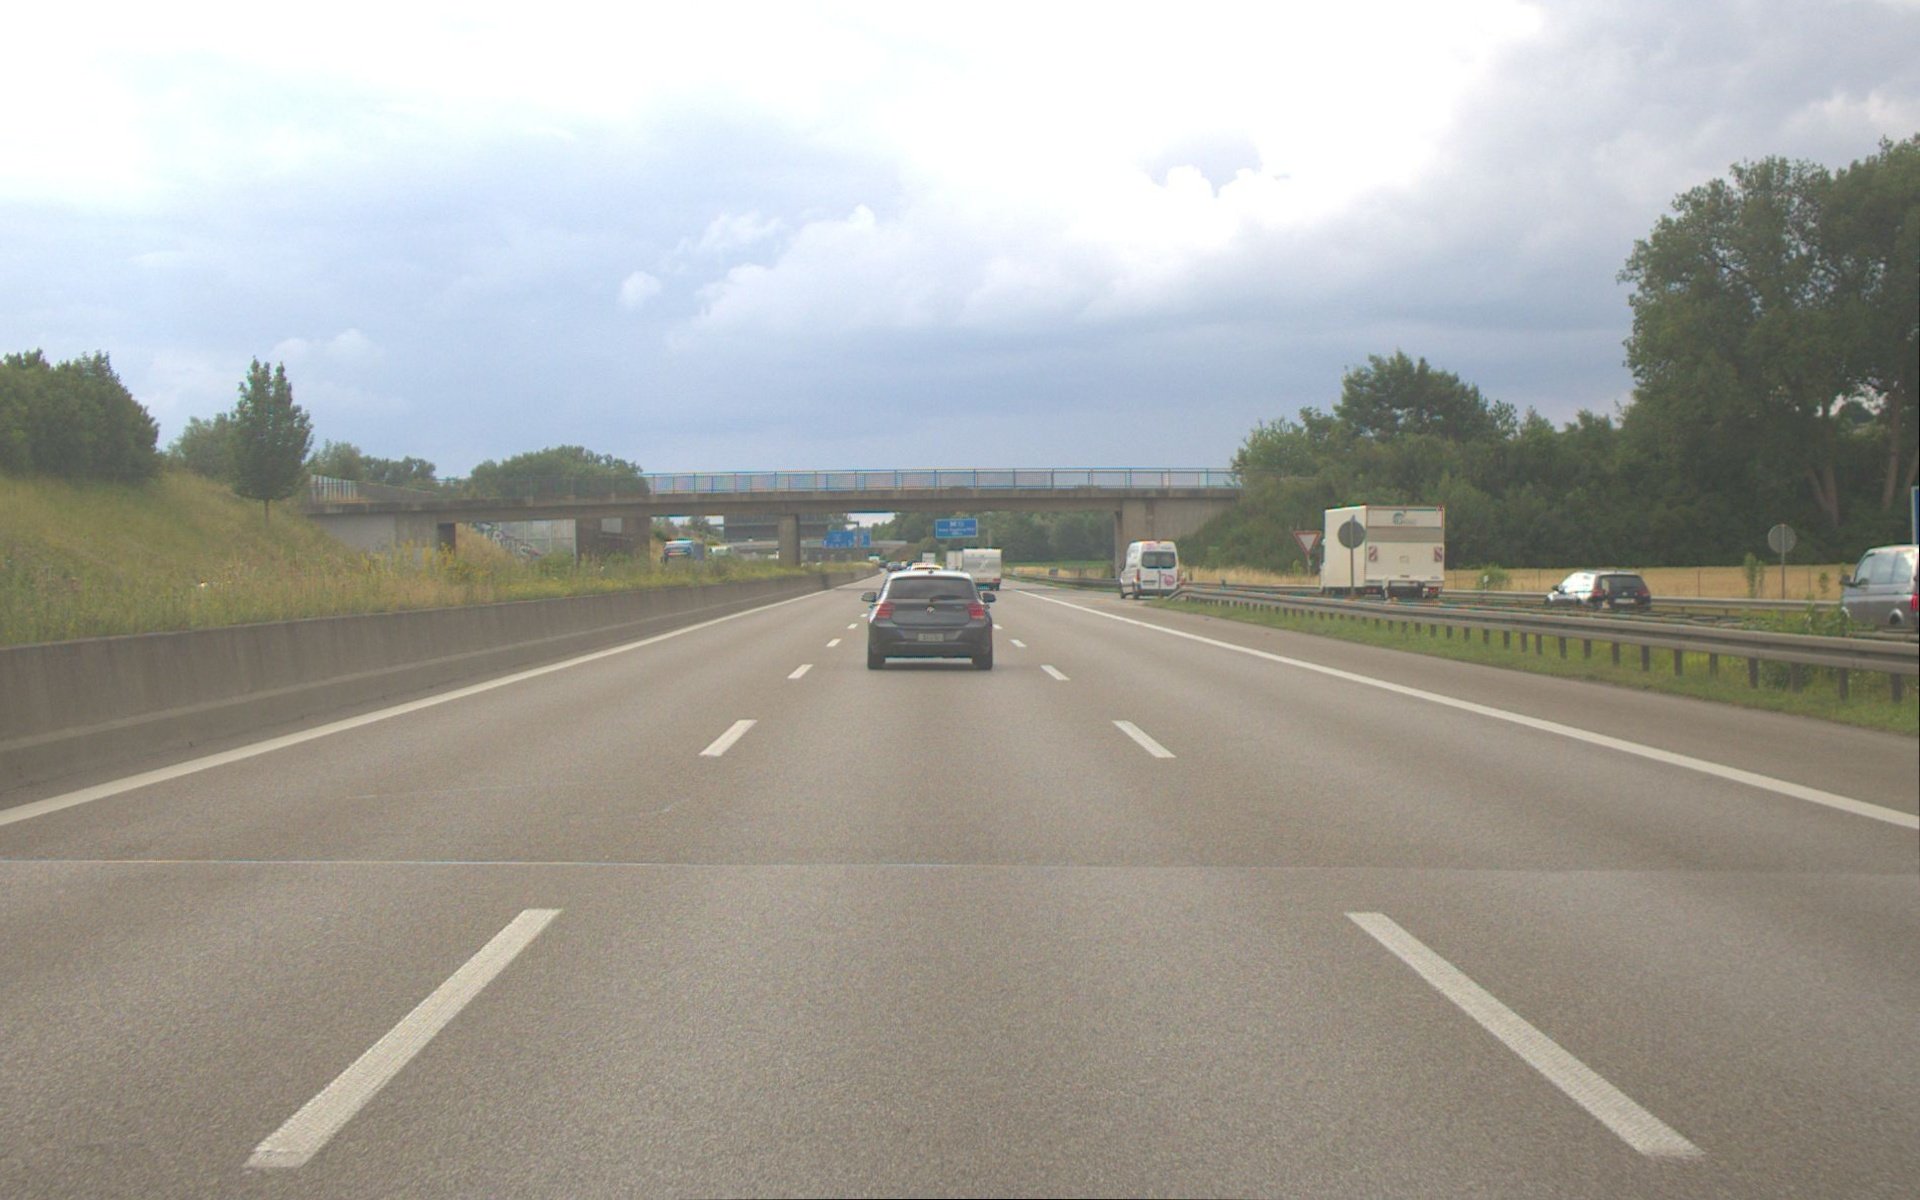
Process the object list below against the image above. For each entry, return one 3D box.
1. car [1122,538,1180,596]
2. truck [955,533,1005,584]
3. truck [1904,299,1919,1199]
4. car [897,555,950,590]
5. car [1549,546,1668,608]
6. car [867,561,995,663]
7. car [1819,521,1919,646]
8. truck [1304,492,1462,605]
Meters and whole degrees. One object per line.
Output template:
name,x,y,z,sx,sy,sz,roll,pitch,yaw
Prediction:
car,8.717,-1.517,157.378,2.221,2.559,6.256,0,1,-1
truck,1.170,-2.532,211.474,2.710,2.954,12.447,1,0,-1
truck,3.366,-0.237,2.411,2.770,3.492,9.062,1,1,-1
car,-1.430,-1.075,132.681,1.993,1.294,4.000,-1,0,-1
car,17.062,-0.618,90.648,1.917,1.545,4.924,-1,1,-3
car,-0.422,0.148,49.513,1.743,1.384,4.000,1,1,-1
car,16.623,-0.296,59.462,2.143,2.056,4.958,1,1,-1
truck,13.671,-1.650,111.845,3.104,3.459,8.893,1,0,-6
